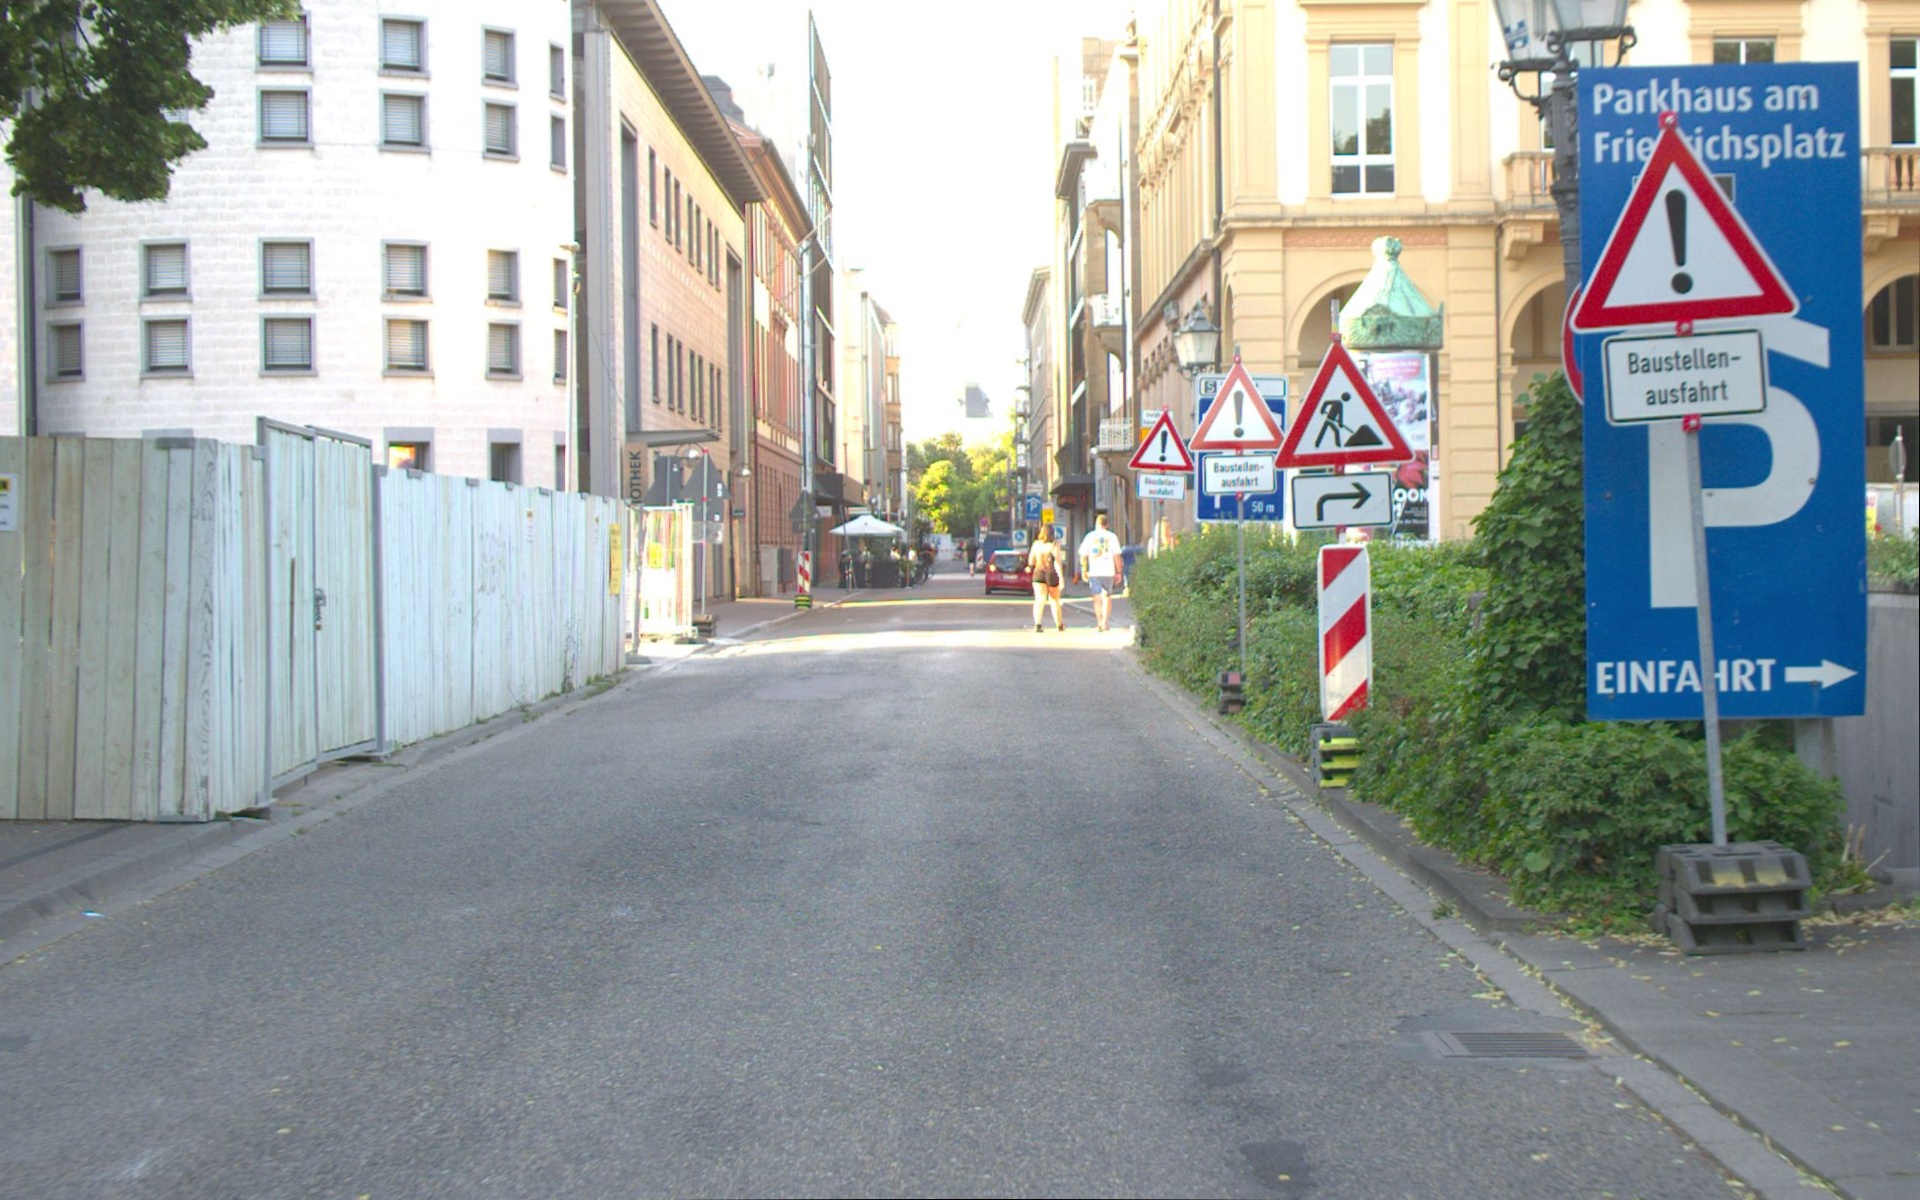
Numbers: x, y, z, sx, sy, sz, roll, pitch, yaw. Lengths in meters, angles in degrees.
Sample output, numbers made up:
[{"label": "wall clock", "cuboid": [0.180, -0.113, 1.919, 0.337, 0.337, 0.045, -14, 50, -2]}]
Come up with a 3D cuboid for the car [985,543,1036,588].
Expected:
[{"label": "car", "cuboid": [1.670, -1.142, 114.047, 1.649, 1.422, 3.535, 2, 0, 1]}]

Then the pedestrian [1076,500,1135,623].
[{"label": "pedestrian", "cuboid": [2.256, -0.594, 53.404, 0.812, 1.869, 0.875, -1, 0, -1]}]

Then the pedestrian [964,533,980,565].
[{"label": "pedestrian", "cuboid": [0.626, -2.686, 180.202, 0.804, 1.667, 0.888, -1, 0, 2]}]

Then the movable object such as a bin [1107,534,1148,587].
[{"label": "movable object such as a bin", "cuboid": [4.533, -1.074, 93.258, 0.990, 1.387, 1.240, -2, 1, 0]}]

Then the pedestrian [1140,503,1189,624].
[{"label": "pedestrian", "cuboid": [3.097, -0.555, 52.131, 0.636, 1.797, 0.772, -1, 0, -1]}]

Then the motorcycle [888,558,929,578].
[{"label": "motorcycle", "cuboid": [-2.322, -1.443, 154.178, 1.801, 0.872, 0.560, -1, 0, -4]}]

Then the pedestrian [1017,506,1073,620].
[{"label": "pedestrian", "cuboid": [1.312, -0.573, 53.209, 0.775, 1.740, 0.875, -1, 0, -1]}]
